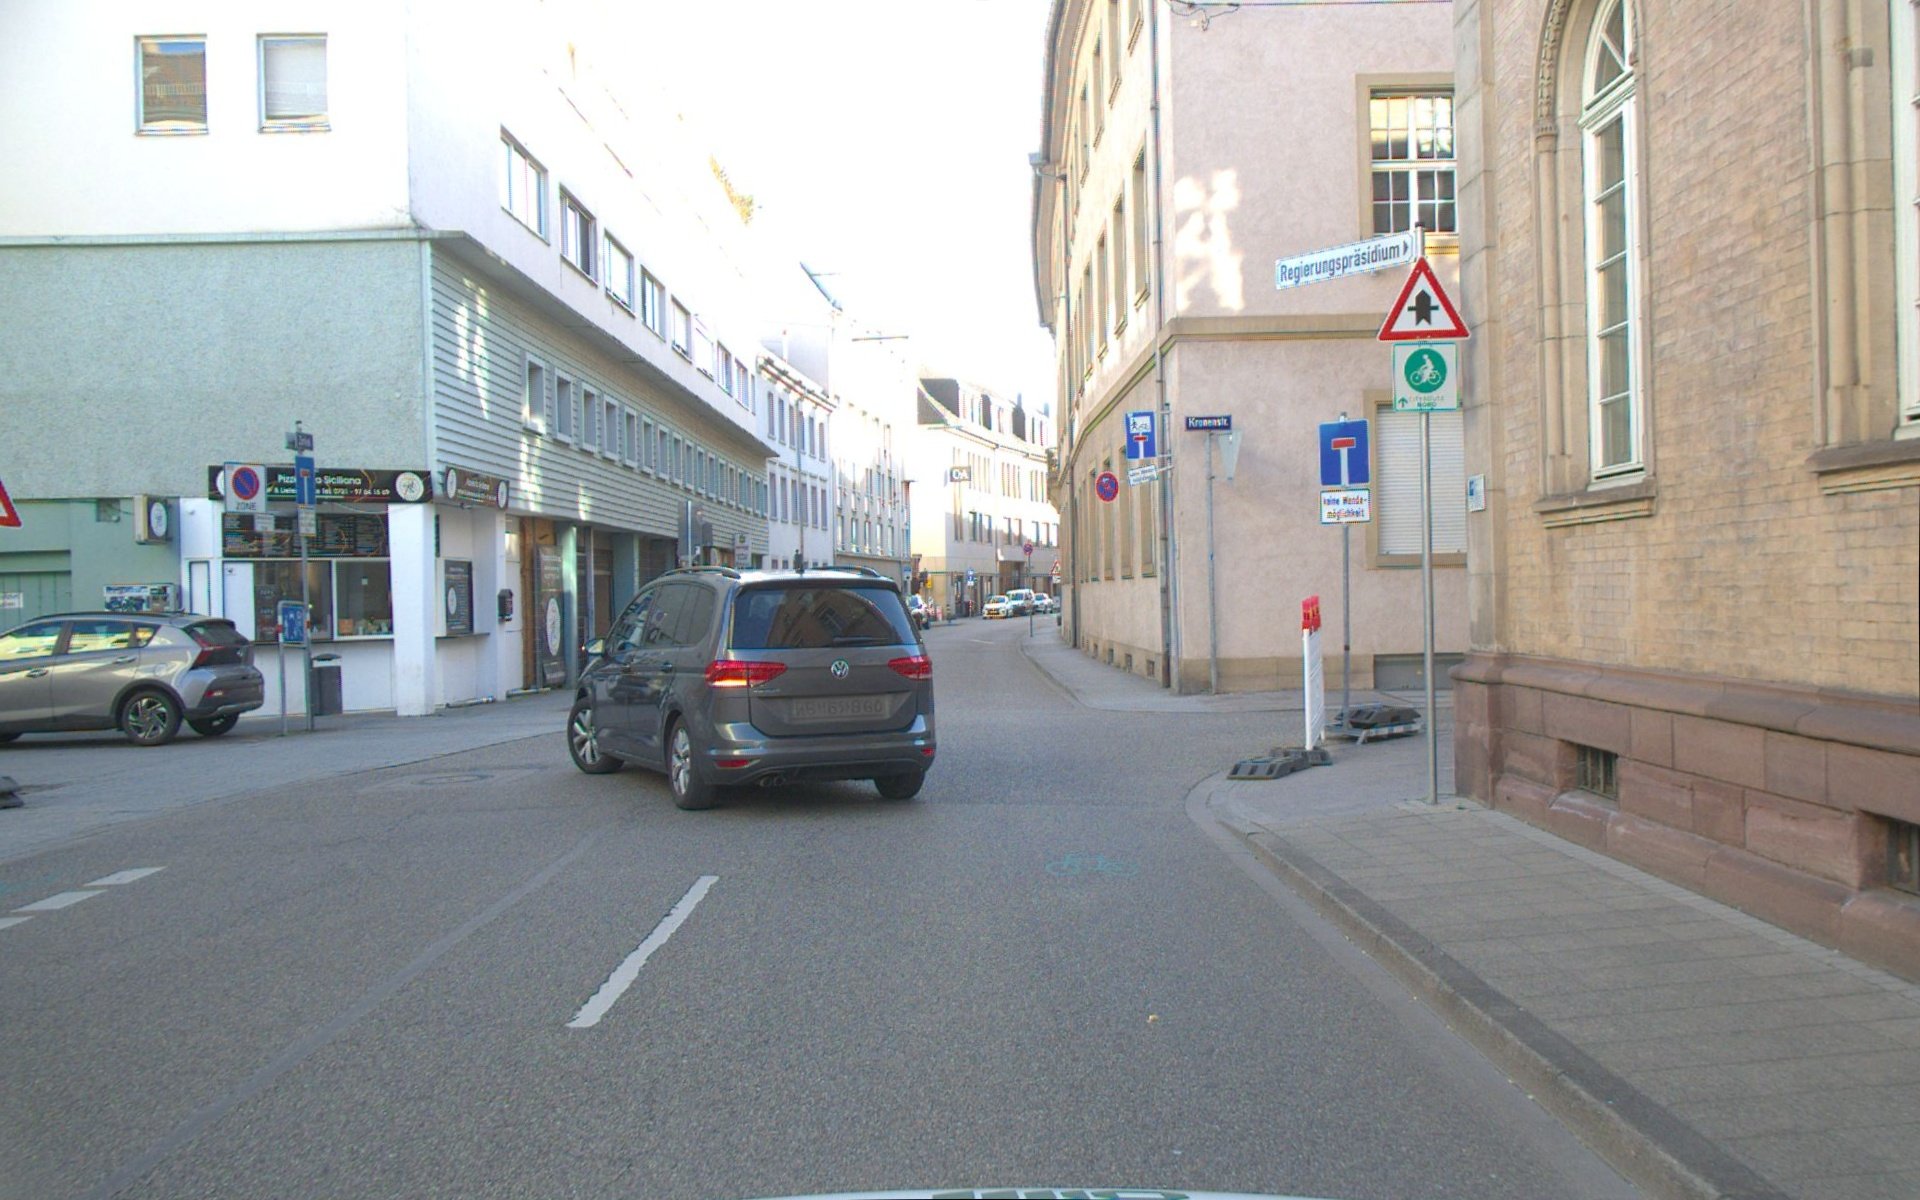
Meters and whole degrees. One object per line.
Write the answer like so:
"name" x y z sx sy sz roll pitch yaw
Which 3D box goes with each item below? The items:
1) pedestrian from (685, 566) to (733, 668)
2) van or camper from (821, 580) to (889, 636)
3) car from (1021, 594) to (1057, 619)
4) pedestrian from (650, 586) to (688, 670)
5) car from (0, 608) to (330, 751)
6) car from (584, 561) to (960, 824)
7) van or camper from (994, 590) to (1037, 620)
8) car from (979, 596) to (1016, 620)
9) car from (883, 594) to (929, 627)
"pedestrian" -4.653 0.311 30.677 0.544 1.861 0.730 -1 0 22
"van or camper" -3.981 0.287 63.288 1.951 2.049 4.485 -1 0 4
"car" 5.849 0.475 122.021 1.787 1.756 4.003 -1 0 15
"pedestrian" -6.530 0.617 37.115 0.713 1.861 0.557 -1 0 -2
"car" -9.775 0.904 19.333 4.014 1.468 1.948 -2 0 0
"car" -1.579 0.564 12.443 1.738 1.635 3.971 0 0 -24
"van or camper" 3.894 0.339 115.678 1.951 2.049 5.002 -1 0 14
"car" 2.526 0.536 109.906 1.697 1.493 4.004 -1 0 12
"car" -2.582 0.493 79.510 1.826 1.494 3.835 -1 0 3
